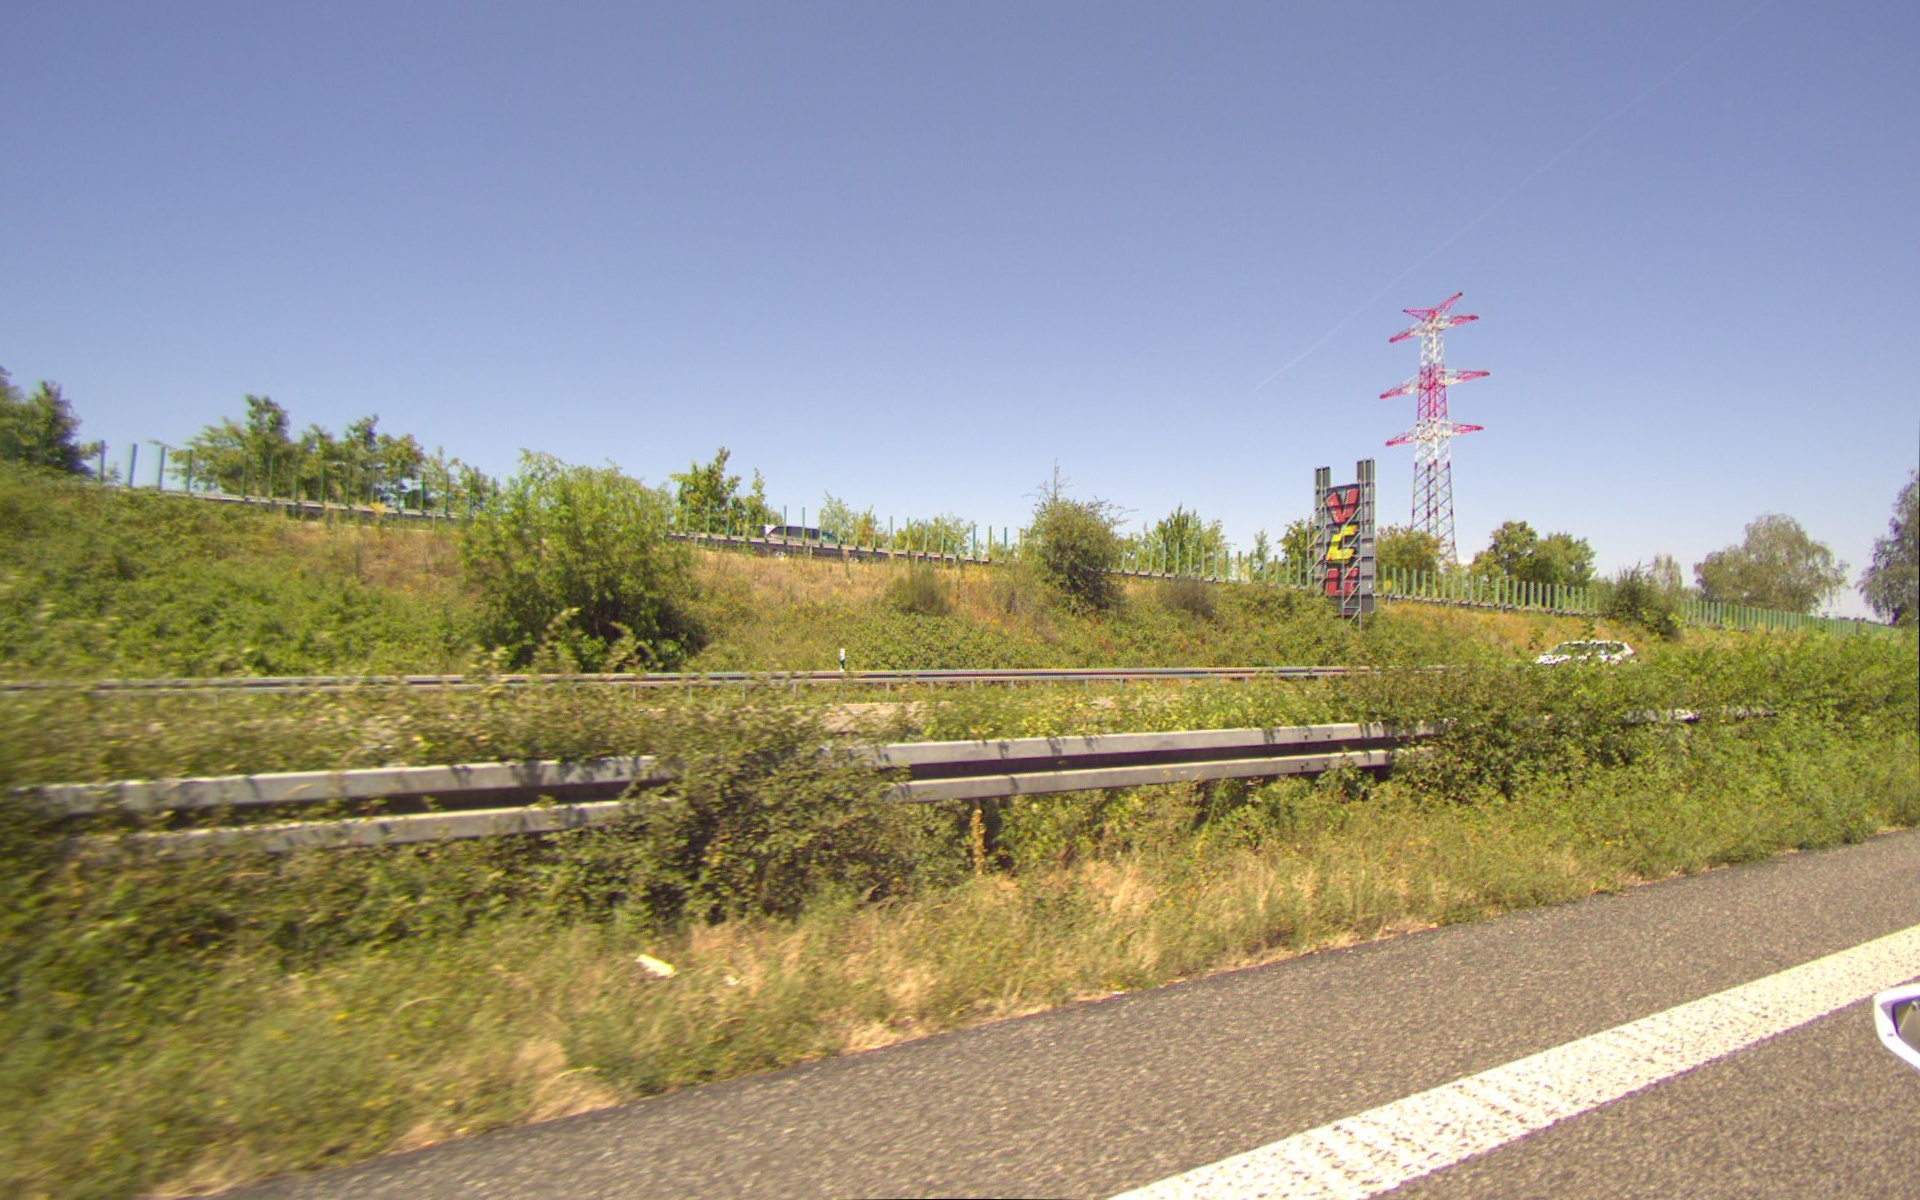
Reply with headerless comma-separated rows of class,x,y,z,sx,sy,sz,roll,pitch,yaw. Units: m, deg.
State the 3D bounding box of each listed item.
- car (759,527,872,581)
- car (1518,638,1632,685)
car,-5.500,-1.697,38.245,3.944,1.818,1.717,2,0,-24
car,22.022,2.165,35.931,4.103,1.617,1.756,2,-2,-30
